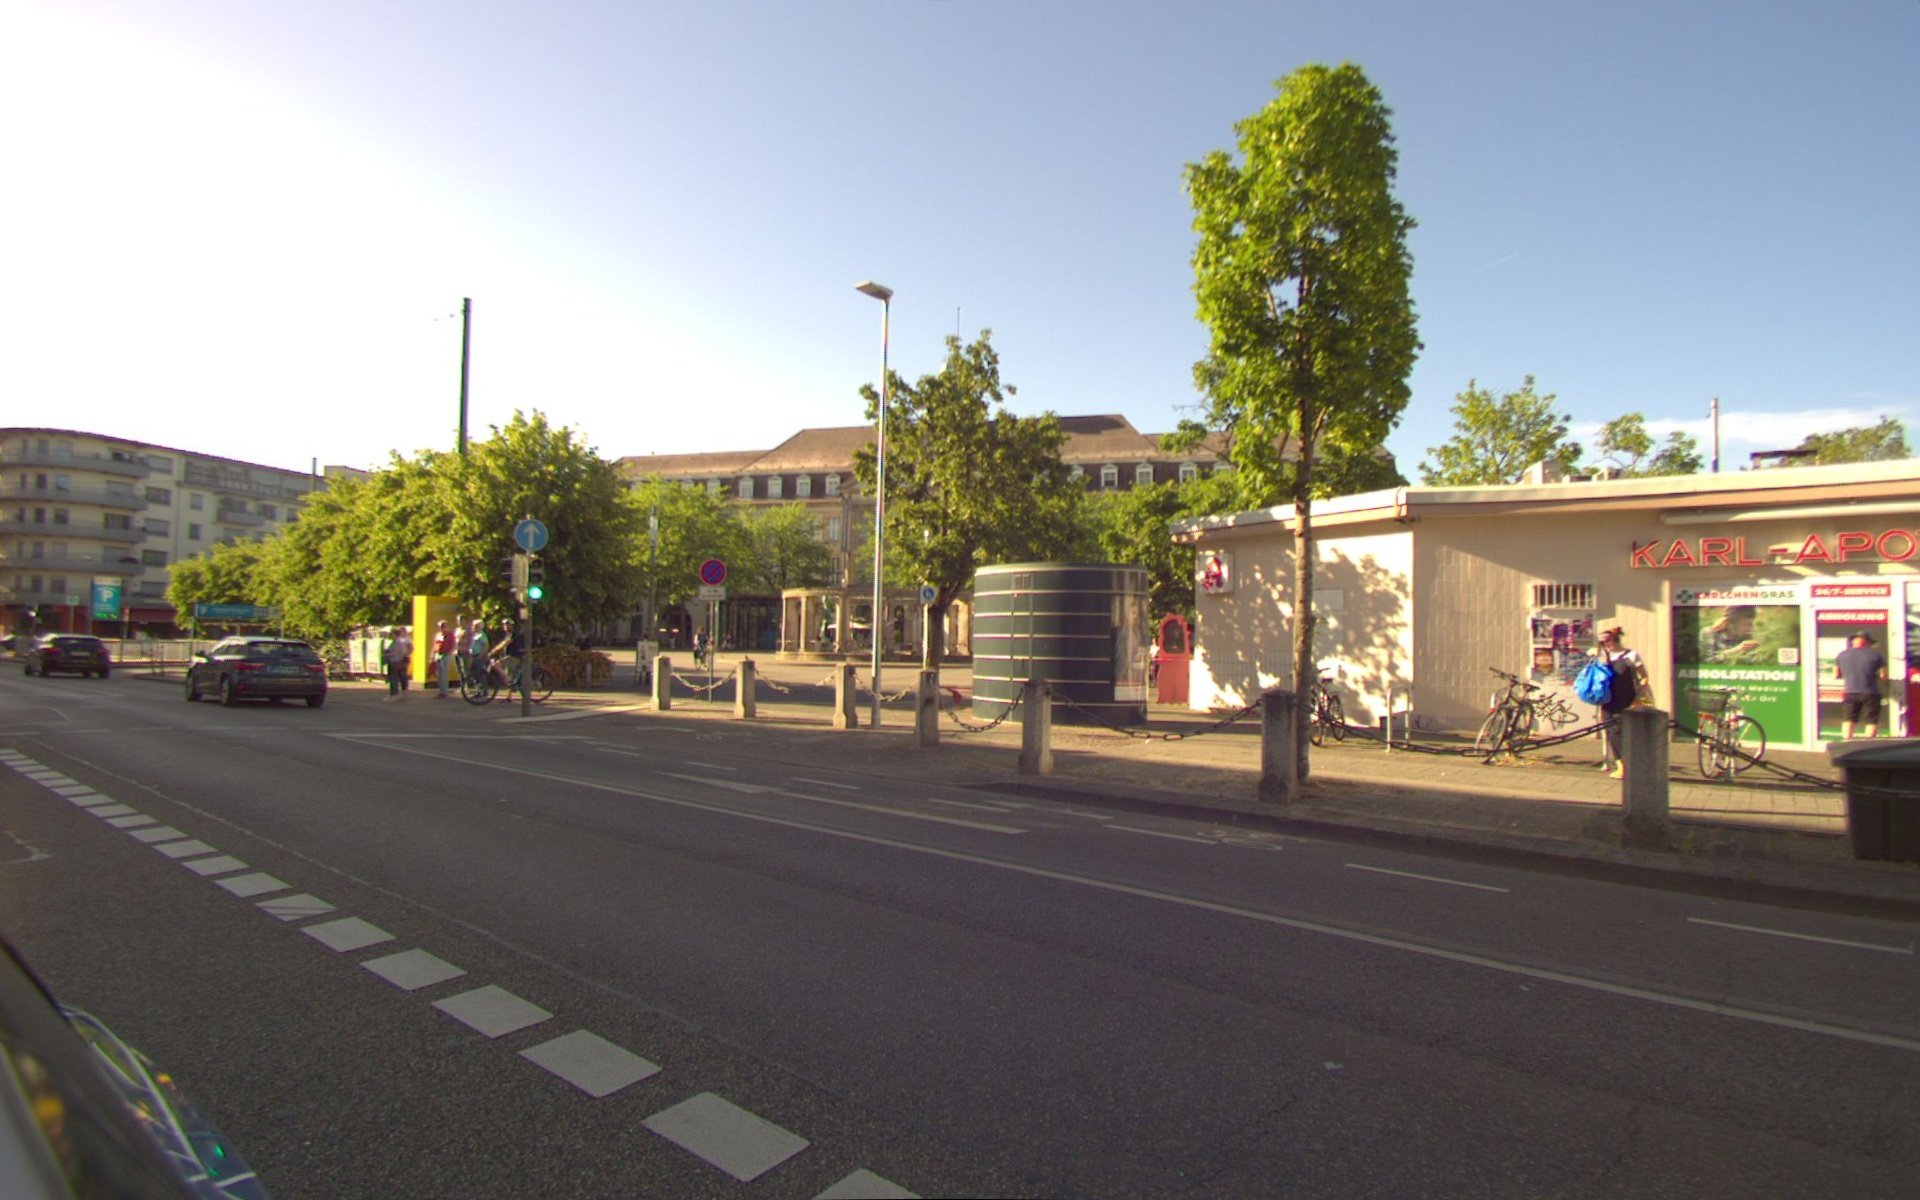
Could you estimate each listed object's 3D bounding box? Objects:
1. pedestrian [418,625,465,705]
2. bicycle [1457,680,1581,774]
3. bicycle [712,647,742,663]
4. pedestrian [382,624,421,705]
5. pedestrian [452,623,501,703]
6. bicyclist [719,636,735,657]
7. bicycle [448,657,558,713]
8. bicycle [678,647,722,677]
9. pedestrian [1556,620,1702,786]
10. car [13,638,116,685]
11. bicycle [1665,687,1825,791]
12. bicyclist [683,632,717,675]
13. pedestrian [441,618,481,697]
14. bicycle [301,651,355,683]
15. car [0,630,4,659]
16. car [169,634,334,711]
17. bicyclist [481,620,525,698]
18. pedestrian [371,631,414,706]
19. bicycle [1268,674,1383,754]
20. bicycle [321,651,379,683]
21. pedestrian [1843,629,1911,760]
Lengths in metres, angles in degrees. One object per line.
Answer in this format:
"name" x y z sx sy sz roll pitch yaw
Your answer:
"pedestrian" -12.179 1.522 23.779 0.772 1.825 0.590 1 -3 -4
"bicycle" 6.915 1.525 12.482 1.862 1.010 0.766 3 -3 -42
"bicycle" -16.924 3.971 73.457 0.696 1.112 2.096 -2 -4 39
"pedestrian" -13.140 1.503 23.826 0.640 1.872 0.626 1 -3 -19
"pedestrian" -11.304 1.460 23.674 0.776 1.825 0.587 0 -3 14
"bicyclist" -16.932 3.360 73.508 0.646 1.483 0.940 -2 -3 39
"bicycle" -10.027 1.846 22.238 2.139 1.080 0.766 -1 -2 -29
"bicycle" -10.103 2.390 39.288 0.927 1.141 2.486 3 -3 -32
"pedestrian" 7.321 1.087 11.094 1.067 1.711 0.905 2 -3 -29
"car" -30.011 2.040 33.895 4.248 1.434 1.732 -2 -6 38
"bicycle" 8.872 1.514 11.413 1.986 1.010 0.890 3 -3 -36
"bicyclist" -10.082 2.062 39.253 0.927 1.621 1.173 3 -4 -32
"pedestrian" -12.358 1.419 25.071 0.783 1.933 0.601 -2 -4 42
"bicycle" -21.243 2.249 34.031 1.507 1.039 0.365 3 -4 -36
"car" -46.806 2.330 47.542 4.778 1.962 1.974 -2 -7 39
"car" -14.812 1.484 21.100 4.038 1.408 1.634 -1 -7 39
"bicyclist" -10.038 1.291 22.211 0.791 1.661 0.997 2 -3 -28
"pedestrian" -12.974 1.556 23.152 0.676 1.686 0.699 1 -3 -19
"bicycle" 5.258 1.598 14.508 1.862 1.010 0.766 3 -3 -42
"bicycle" -19.775 2.177 32.821 0.364 1.010 1.540 -2 -4 39
"pedestrian" 12.424 1.267 13.732 0.611 1.722 0.514 -2 -4 39
